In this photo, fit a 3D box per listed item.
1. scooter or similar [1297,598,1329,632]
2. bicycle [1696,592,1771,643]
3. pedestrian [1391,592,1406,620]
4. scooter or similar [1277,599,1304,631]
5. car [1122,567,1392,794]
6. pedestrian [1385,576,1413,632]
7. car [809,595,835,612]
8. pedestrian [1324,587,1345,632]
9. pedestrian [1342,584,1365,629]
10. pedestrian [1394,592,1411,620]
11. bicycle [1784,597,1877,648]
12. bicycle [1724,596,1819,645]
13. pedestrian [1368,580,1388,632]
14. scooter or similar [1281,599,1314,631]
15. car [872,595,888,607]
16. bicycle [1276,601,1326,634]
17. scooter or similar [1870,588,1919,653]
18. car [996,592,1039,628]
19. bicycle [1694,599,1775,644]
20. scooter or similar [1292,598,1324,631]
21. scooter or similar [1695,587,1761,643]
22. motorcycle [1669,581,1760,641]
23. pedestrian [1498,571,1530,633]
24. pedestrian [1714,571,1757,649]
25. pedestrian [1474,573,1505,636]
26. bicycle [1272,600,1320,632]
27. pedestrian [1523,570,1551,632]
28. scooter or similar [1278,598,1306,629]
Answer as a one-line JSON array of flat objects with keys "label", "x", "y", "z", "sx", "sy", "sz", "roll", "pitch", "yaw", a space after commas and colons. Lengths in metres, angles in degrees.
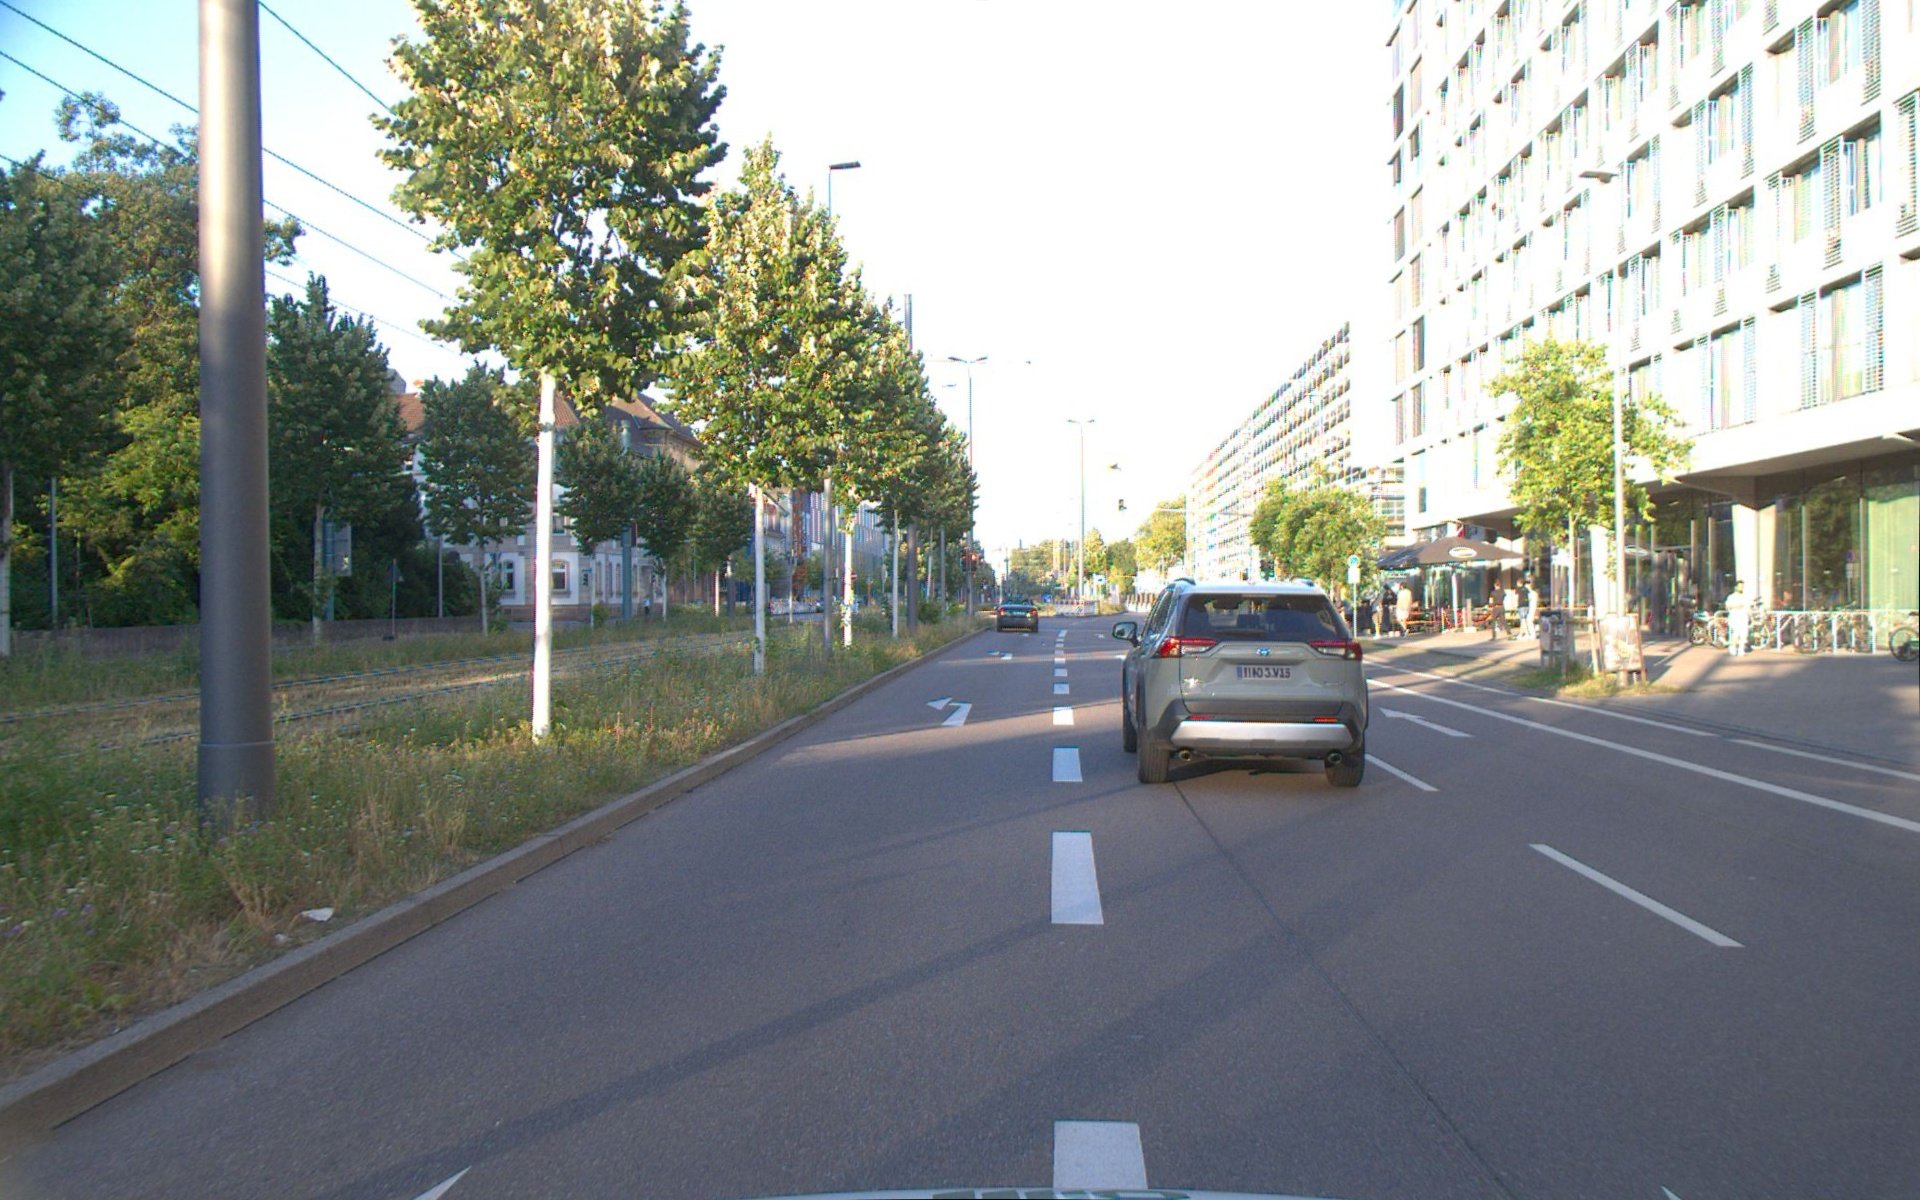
[{"label": "scooter or similar", "x": 13.531, "y": 0.570, "z": 63.456, "sx": 1.104, "sy": 1.235, "sz": 0.532, "roll": -3, "pitch": -2, "yaw": 18}, {"label": "bicycle", "x": 19.080, "y": 0.420, "z": 40.808, "sx": 1.577, "sy": 1.174, "sz": 0.611, "roll": -3, "pitch": 0, "yaw": -10}, {"label": "pedestrian", "x": 22.127, "y": 0.312, "z": 83.514, "sx": 0.600, "sy": 1.342, "sz": 0.621, "roll": -3, "pitch": 0, "yaw": 21}, {"label": "scooter or similar", "x": 13.645, "y": 0.616, "z": 68.355, "sx": 1.038, "sy": 1.244, "sz": 0.550, "roll": -3, "pitch": 0, "yaw": 13}, {"label": "car", "x": 2.461, "y": 0.586, "z": 14.675, "sx": 1.795, "sy": 1.701, "sz": 4.284, "roll": 1, "pitch": 1, "yaw": 3}, {"label": "pedestrian", "x": 15.474, "y": 0.143, "z": 58.339, "sx": 0.807, "sy": 1.921, "sz": 0.867, "roll": -2, "pitch": -1, "yaw": 11}, {"label": "car", "x": -13.591, "y": 0.333, "z": 163.314, "sx": 1.952, "sy": 1.608, "sz": 4.126, "roll": -2, "pitch": 0, "yaw": 4}, {"label": "pedestrian", "x": 14.926, "y": 0.370, "z": 65.943, "sx": 0.640, "sy": 1.732, "sz": 0.689, "roll": -2, "pitch": 0, "yaw": 3}, {"label": "pedestrian", "x": 15.605, "y": 0.258, "z": 65.650, "sx": 0.671, "sy": 1.765, "sz": 0.761, "roll": -3, "pitch": 0, "yaw": 3}, {"label": "pedestrian", "x": 22.055, "y": 0.302, "z": 82.396, "sx": 0.730, "sy": 1.342, "sz": 0.715, "roll": -3, "pitch": 0, "yaw": 16}, {"label": "bicycle", "x": 18.551, "y": 0.482, "z": 35.276, "sx": 1.665, "sy": 1.003, "sz": 0.551, "roll": -3, "pitch": 0, "yaw": 0}, {"label": "bicycle", "x": 18.622, "y": 0.469, "z": 37.968, "sx": 1.846, "sy": 1.027, "sz": 0.565, "roll": -3, "pitch": 0, "yaw": 1}, {"label": "pedestrian", "x": 14.857, "y": 0.228, "z": 58.842, "sx": 0.564, "sy": 1.817, "sz": 0.829, "roll": -2, "pitch": -1, "yaw": 11}, {"label": "scooter or similar", "x": 13.592, "y": 0.611, "z": 66.682, "sx": 1.185, "sy": 1.222, "sz": 0.480, "roll": -3, "pitch": 0, "yaw": -2}, {"label": "car", "x": -10.514, "y": 0.151, "z": 217.008, "sx": 1.623, "sy": 1.456, "sz": 3.897, "roll": 2, "pitch": 1, "yaw": 5}, {"label": "bicycle", "x": 13.484, "y": 0.701, "z": 65.414, "sx": 1.808, "sy": 1.202, "sz": 0.608, "roll": -3, "pitch": 0, "yaw": 3}, {"label": "scooter or similar", "x": 18.930, "y": 0.369, "z": 31.922, "sx": 2.323, "sy": 1.203, "sz": 0.621, "roll": -2, "pitch": 0, "yaw": 2}, {"label": "car", "x": 2.361, "y": 0.385, "z": 67.351, "sx": 1.639, "sy": 1.375, "sz": 4.002, "roll": 1, "pitch": 1, "yaw": 3}, {"label": "bicycle", "x": 18.758, "y": 0.520, "z": 40.064, "sx": 1.665, "sy": 1.003, "sz": 0.551, "roll": -2, "pitch": 0, "yaw": 0}, {"label": "scooter or similar", "x": 13.520, "y": 0.568, "z": 64.238, "sx": 1.131, "sy": 1.212, "sz": 0.510, "roll": -2, "pitch": -2, "yaw": 5}, {"label": "scooter or similar", "x": 18.317, "y": 0.352, "z": 39.446, "sx": 1.242, "sy": 1.254, "sz": 0.608, "roll": -2, "pitch": 0, "yaw": -1}, {"label": "motorcycle", "x": 19.008, "y": 0.260, "z": 41.674, "sx": 2.074, "sy": 1.410, "sz": 0.670, "roll": -2, "pitch": 1, "yaw": -11}, {"label": "pedestrian", "x": 16.978, "y": 0.064, "z": 50.710, "sx": 0.740, "sy": 1.856, "sz": 0.941, "roll": -2, "pitch": 0, "yaw": 12}, {"label": "pedestrian", "x": 16.849, "y": 0.207, "z": 35.938, "sx": 0.564, "sy": 1.647, "sz": 0.643, "roll": -2, "pitch": 0, "yaw": 0}, {"label": "pedestrian", "x": 16.281, "y": 0.137, "z": 50.892, "sx": 0.728, "sy": 1.881, "sz": 0.941, "roll": -3, "pitch": -1, "yaw": 12}, {"label": "bicycle", "x": 13.651, "y": 0.632, "z": 67.230, "sx": 1.757, "sy": 1.214, "sz": 0.567, "roll": -3, "pitch": 0, "yaw": -2}, {"label": "pedestrian", "x": 17.723, "y": 0.026, "z": 50.810, "sx": 0.605, "sy": 1.843, "sz": 0.777, "roll": -3, "pitch": -1, "yaw": 12}, {"label": "scooter or similar", "x": 13.958, "y": 0.551, "z": 69.519, "sx": 1.030, "sy": 1.245, "sz": 0.598, "roll": -2, "pitch": 0, "yaw": -1}]
